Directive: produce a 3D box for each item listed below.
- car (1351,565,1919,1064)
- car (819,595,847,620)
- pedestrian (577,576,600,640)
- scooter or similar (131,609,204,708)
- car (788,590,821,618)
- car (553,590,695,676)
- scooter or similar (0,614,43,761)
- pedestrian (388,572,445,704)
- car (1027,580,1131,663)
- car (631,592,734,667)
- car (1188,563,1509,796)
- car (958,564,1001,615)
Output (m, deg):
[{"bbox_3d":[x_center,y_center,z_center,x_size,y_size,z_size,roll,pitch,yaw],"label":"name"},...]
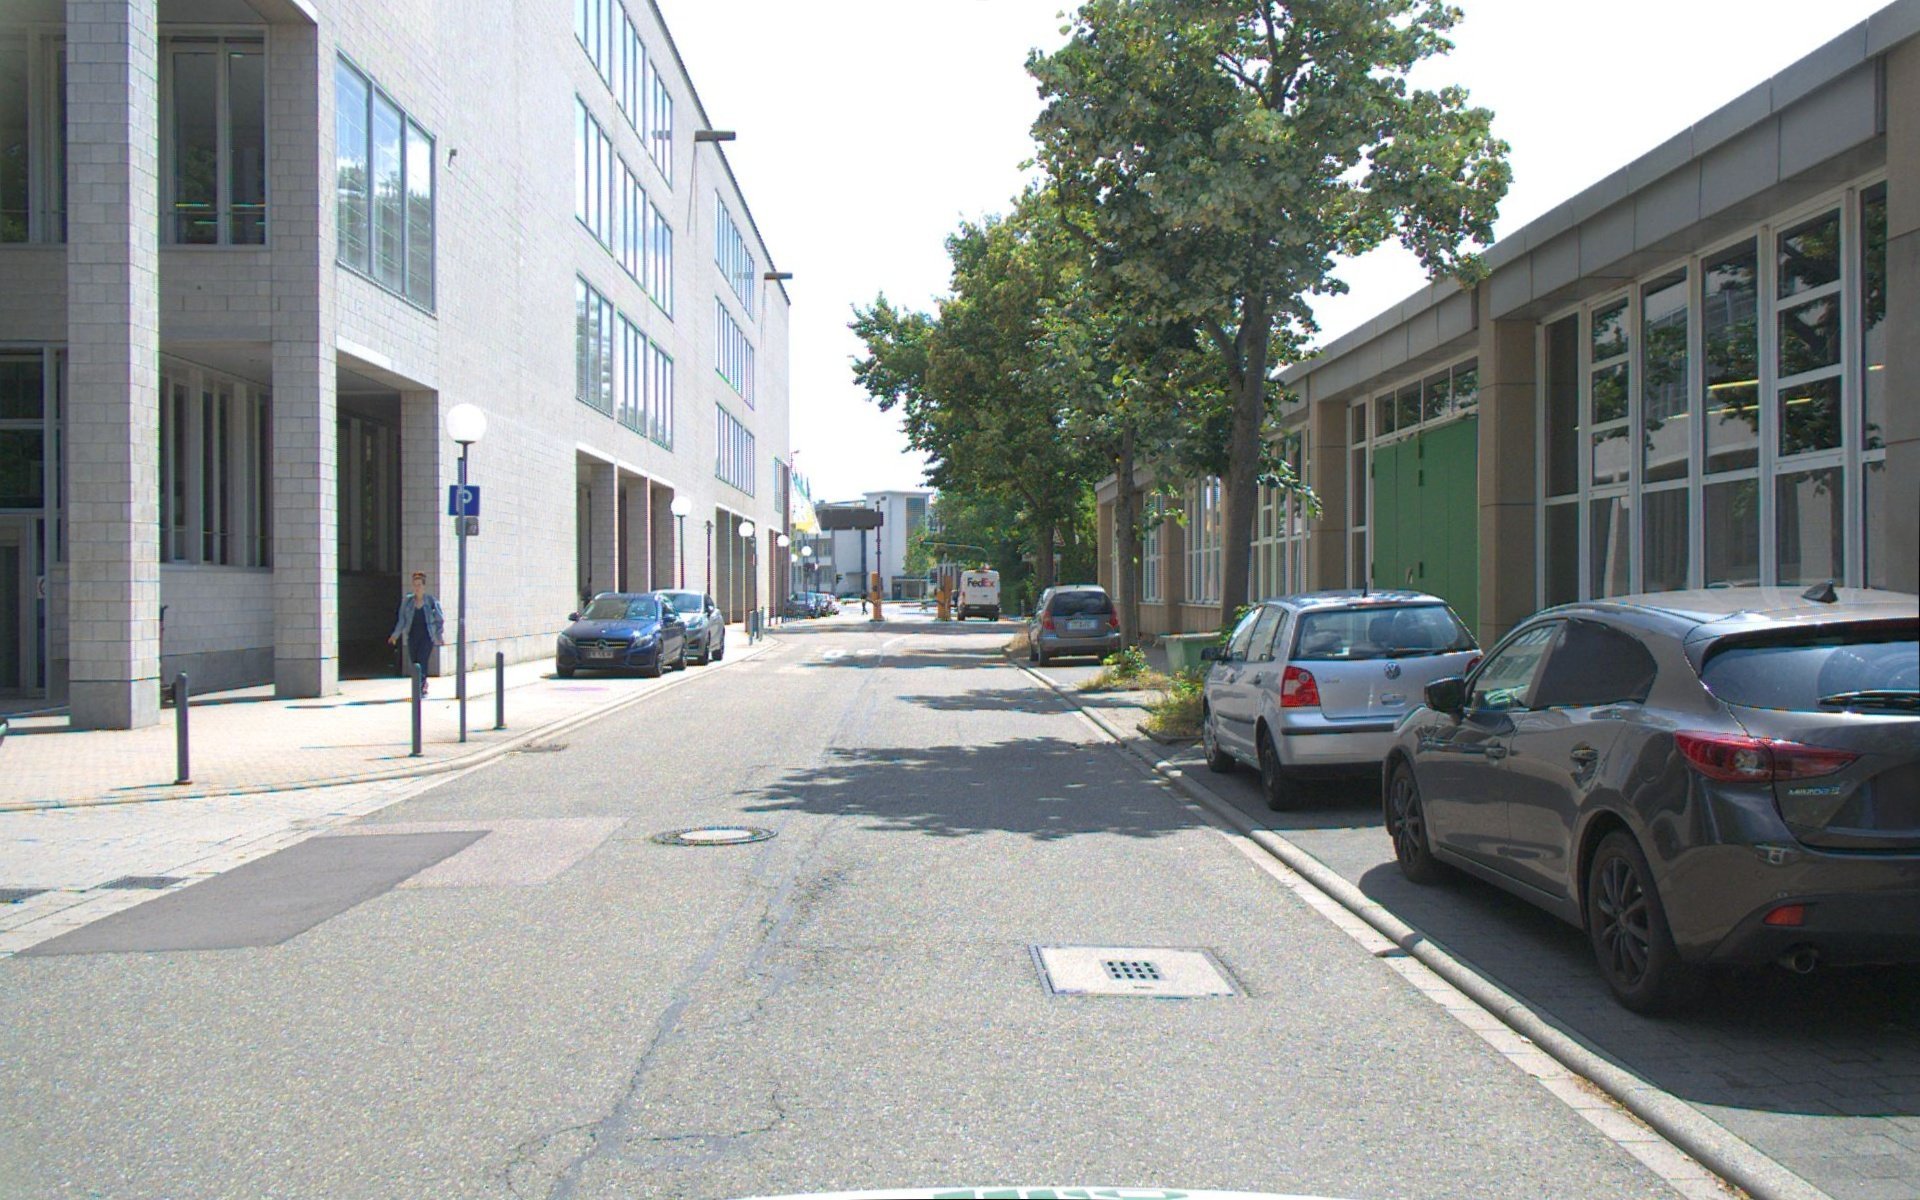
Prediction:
[{"bbox_3d":[3.204,0.630,7.332,1.745,1.502,4.460,-2,0,-1],"label":"car"},{"bbox_3d":[-8.243,0.510,107.413,1.612,1.524,3.727,-1,-2,-2],"label":"car"},{"bbox_3d":[-10.933,0.236,48.688,0.501,1.873,0.734,-1,-2,-2],"label":"pedestrian"},{"bbox_3d":[-10.323,0.740,21.523,0.521,1.231,1.536,0,0,-38],"label":"scooter or similar"},{"bbox_3d":[-8.974,0.240,95.605,1.612,1.524,3.727,-1,-2,-2],"label":"car"},{"bbox_3d":[-6.081,0.570,30.397,1.730,1.452,4.234,0,0,0],"label":"car"},{"bbox_3d":[-8.411,0.751,13.949,0.445,1.245,1.549,0,0,2],"label":"scooter or similar"},{"bbox_3d":[-7.321,0.496,22.302,0.638,1.731,0.887,0,0,-12],"label":"pedestrian"},{"bbox_3d":[2.471,0.416,35.176,1.821,1.601,3.999,-2,0,-1],"label":"car"},{"bbox_3d":[-5.940,0.600,35.788,1.598,1.511,4.177,0,0,-1],"label":"car"},{"bbox_3d":[2.879,0.528,13.032,1.583,1.565,3.779,0,0,-1],"label":"car"},{"bbox_3d":[0.980,-0.546,85.978,2.041,2.584,4.314,1,0,-2],"label":"car"}]
